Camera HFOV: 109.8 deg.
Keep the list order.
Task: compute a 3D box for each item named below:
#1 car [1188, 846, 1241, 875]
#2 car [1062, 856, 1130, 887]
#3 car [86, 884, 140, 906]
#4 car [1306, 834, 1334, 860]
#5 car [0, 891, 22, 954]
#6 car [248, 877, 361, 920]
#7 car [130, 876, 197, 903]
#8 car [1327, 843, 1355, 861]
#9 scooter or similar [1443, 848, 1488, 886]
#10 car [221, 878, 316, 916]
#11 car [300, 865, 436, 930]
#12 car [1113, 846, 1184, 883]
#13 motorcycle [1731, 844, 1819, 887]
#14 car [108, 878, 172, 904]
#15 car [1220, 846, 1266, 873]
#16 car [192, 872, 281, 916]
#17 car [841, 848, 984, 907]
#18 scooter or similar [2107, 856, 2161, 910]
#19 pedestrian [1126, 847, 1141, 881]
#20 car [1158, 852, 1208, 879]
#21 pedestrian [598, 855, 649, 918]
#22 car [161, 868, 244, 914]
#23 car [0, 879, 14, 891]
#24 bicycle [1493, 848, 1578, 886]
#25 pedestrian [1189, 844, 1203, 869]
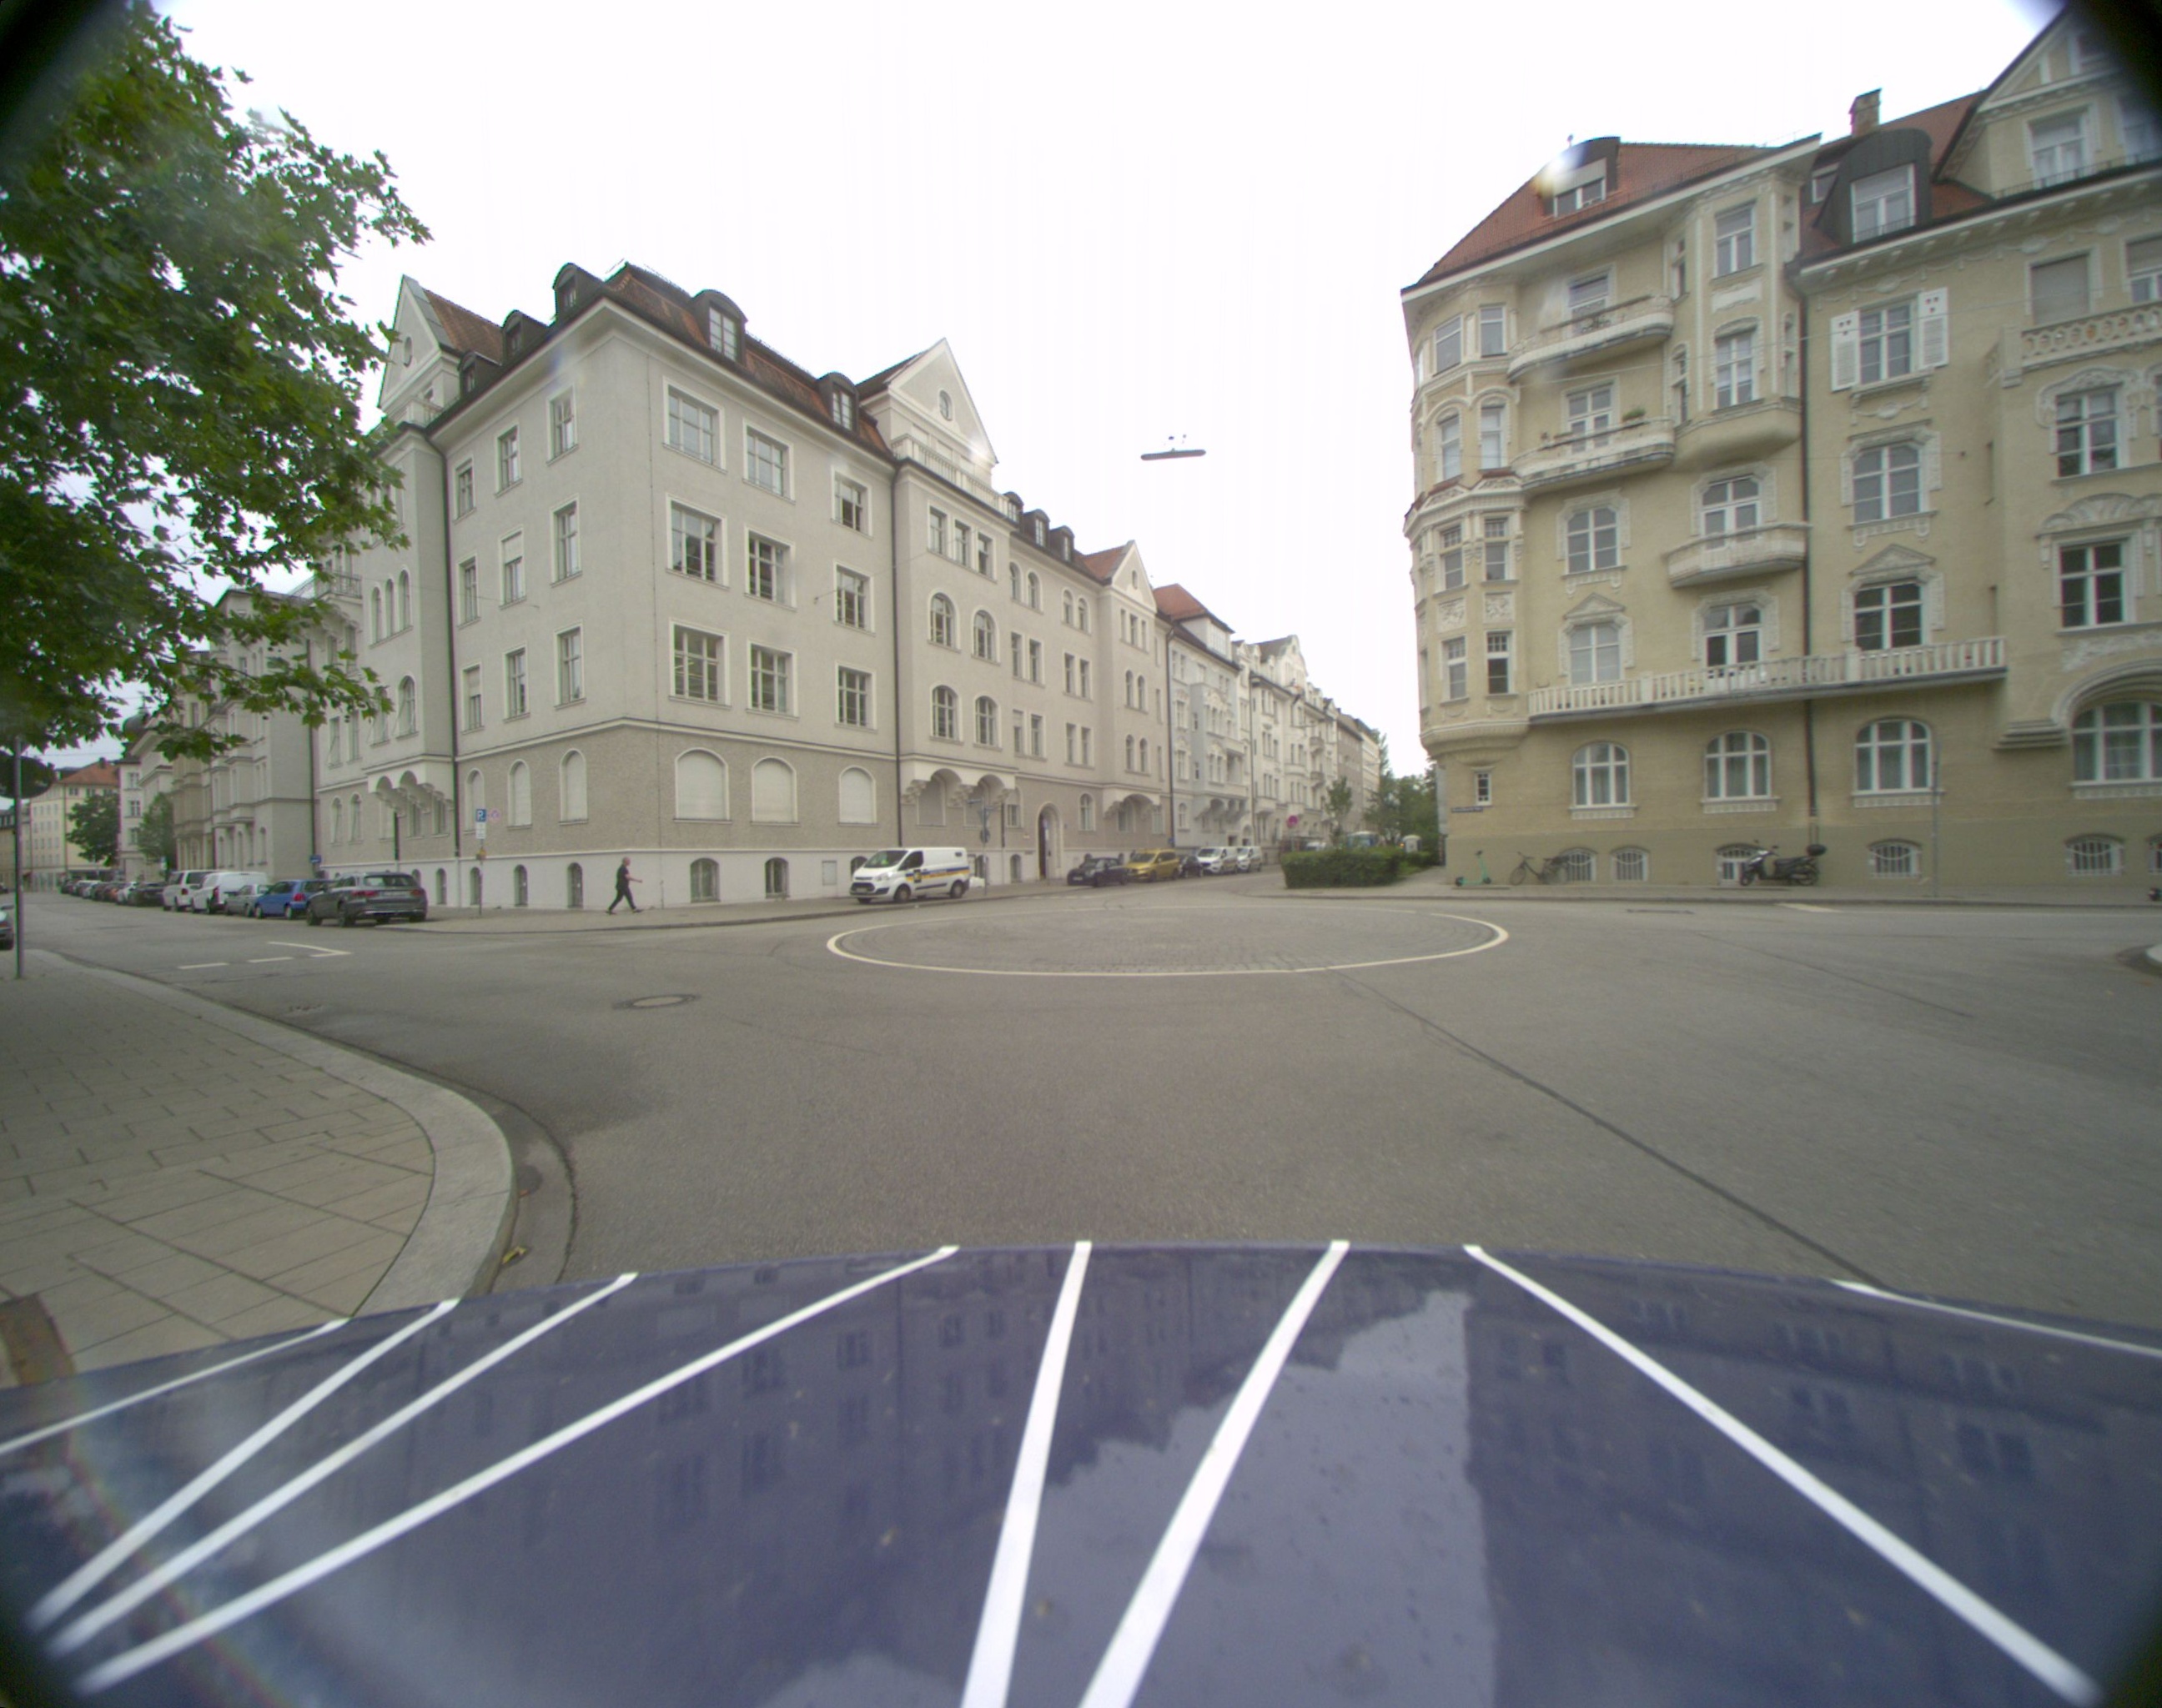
[{"bbox_3d":[9.284,0.413,52.562,1.995,1.907,4.895,-1,0,30],"label":"car"},{"bbox_3d":[0.819,0.862,38.408,1.713,1.437,3.834,-1,0,31],"label":"car"},{"bbox_3d":[-69.007,2.871,54.164,3.829,1.418,1.822,-1,1,30],"label":"car"},{"bbox_3d":[25.404,-0.753,80.659,2.078,2.673,5.454,0,1,25],"label":"car"},{"bbox_3d":[-26.255,1.589,17.523,4.453,1.360,1.804,-1,0,32],"label":"car"},{"bbox_3d":[-28.630,1.599,27.989,4.239,1.396,1.896,-1,1,30],"label":"car"},{"bbox_3d":[-53.343,2.061,44.173,3.829,1.418,1.822,-1,1,30],"label":"car"},{"bbox_3d":[25.531,-0.187,74.405,1.915,1.648,4.609,-1,0,27],"label":"car"},{"bbox_3d":[13.108,0.439,25.953,1.282,1.264,0.459,-1,1,12],"label":"scooter or similar"},{"bbox_3d":[-33.008,1.712,30.852,3.829,1.396,1.801,-1,1,30],"label":"car"},{"bbox_3d":[-22.153,1.300,23.578,4.239,1.785,1.896,-1,1,30],"label":"car"},{"bbox_3d":[3.876,0.551,43.076,1.994,1.907,4.580,-1,1,34],"label":"car"},{"bbox_3d":[20.128,0.337,22.085,1.741,1.179,0.743,-1,0,26],"label":"motorcycle"},{"bbox_3d":[-57.295,2.218,46.248,3.829,1.418,1.822,-1,1,30],"label":"car"},{"bbox_3d":[12.464,0.389,58.140,1.995,1.907,4.887,-1,0,30],"label":"car"},{"bbox_3d":[-36.736,1.704,33.053,3.829,1.773,1.801,-1,1,30],"label":"car"},{"bbox_3d":[-5.991,0.748,27.837,1.939,1.911,5.384,0,1,30],"label":"car"},{"bbox_3d":[22.905,0.612,16.339,1.347,1.102,0.541,-1,1,-15],"label":"scooter or similar"},{"bbox_3d":[3.189,0.598,46.205,0.583,2.002,0.729,-1,1,33],"label":"pedestrian"},{"bbox_3d":[6.435,0.702,47.704,1.634,1.505,3.892,-2,0,31],"label":"car"},{"bbox_3d":[-13.566,0.943,22.550,0.930,1.790,0.999,-2,1,-9],"label":"pedestrian"},{"bbox_3d":[-41.995,1.742,36.318,4.024,2.023,1.822,-1,1,30],"label":"car"},{"bbox_3d":[-148.608,4.267,104.546,3.601,1.538,1.800,-1,0,31],"label":"car"},{"bbox_3d":[14.994,0.431,25.158,2.334,1.196,0.700,-1,0,25],"label":"bicycle"},{"bbox_3d":[9.025,0.181,59.535,0.852,1.892,0.747,-1,1,34],"label":"pedestrian"}]
